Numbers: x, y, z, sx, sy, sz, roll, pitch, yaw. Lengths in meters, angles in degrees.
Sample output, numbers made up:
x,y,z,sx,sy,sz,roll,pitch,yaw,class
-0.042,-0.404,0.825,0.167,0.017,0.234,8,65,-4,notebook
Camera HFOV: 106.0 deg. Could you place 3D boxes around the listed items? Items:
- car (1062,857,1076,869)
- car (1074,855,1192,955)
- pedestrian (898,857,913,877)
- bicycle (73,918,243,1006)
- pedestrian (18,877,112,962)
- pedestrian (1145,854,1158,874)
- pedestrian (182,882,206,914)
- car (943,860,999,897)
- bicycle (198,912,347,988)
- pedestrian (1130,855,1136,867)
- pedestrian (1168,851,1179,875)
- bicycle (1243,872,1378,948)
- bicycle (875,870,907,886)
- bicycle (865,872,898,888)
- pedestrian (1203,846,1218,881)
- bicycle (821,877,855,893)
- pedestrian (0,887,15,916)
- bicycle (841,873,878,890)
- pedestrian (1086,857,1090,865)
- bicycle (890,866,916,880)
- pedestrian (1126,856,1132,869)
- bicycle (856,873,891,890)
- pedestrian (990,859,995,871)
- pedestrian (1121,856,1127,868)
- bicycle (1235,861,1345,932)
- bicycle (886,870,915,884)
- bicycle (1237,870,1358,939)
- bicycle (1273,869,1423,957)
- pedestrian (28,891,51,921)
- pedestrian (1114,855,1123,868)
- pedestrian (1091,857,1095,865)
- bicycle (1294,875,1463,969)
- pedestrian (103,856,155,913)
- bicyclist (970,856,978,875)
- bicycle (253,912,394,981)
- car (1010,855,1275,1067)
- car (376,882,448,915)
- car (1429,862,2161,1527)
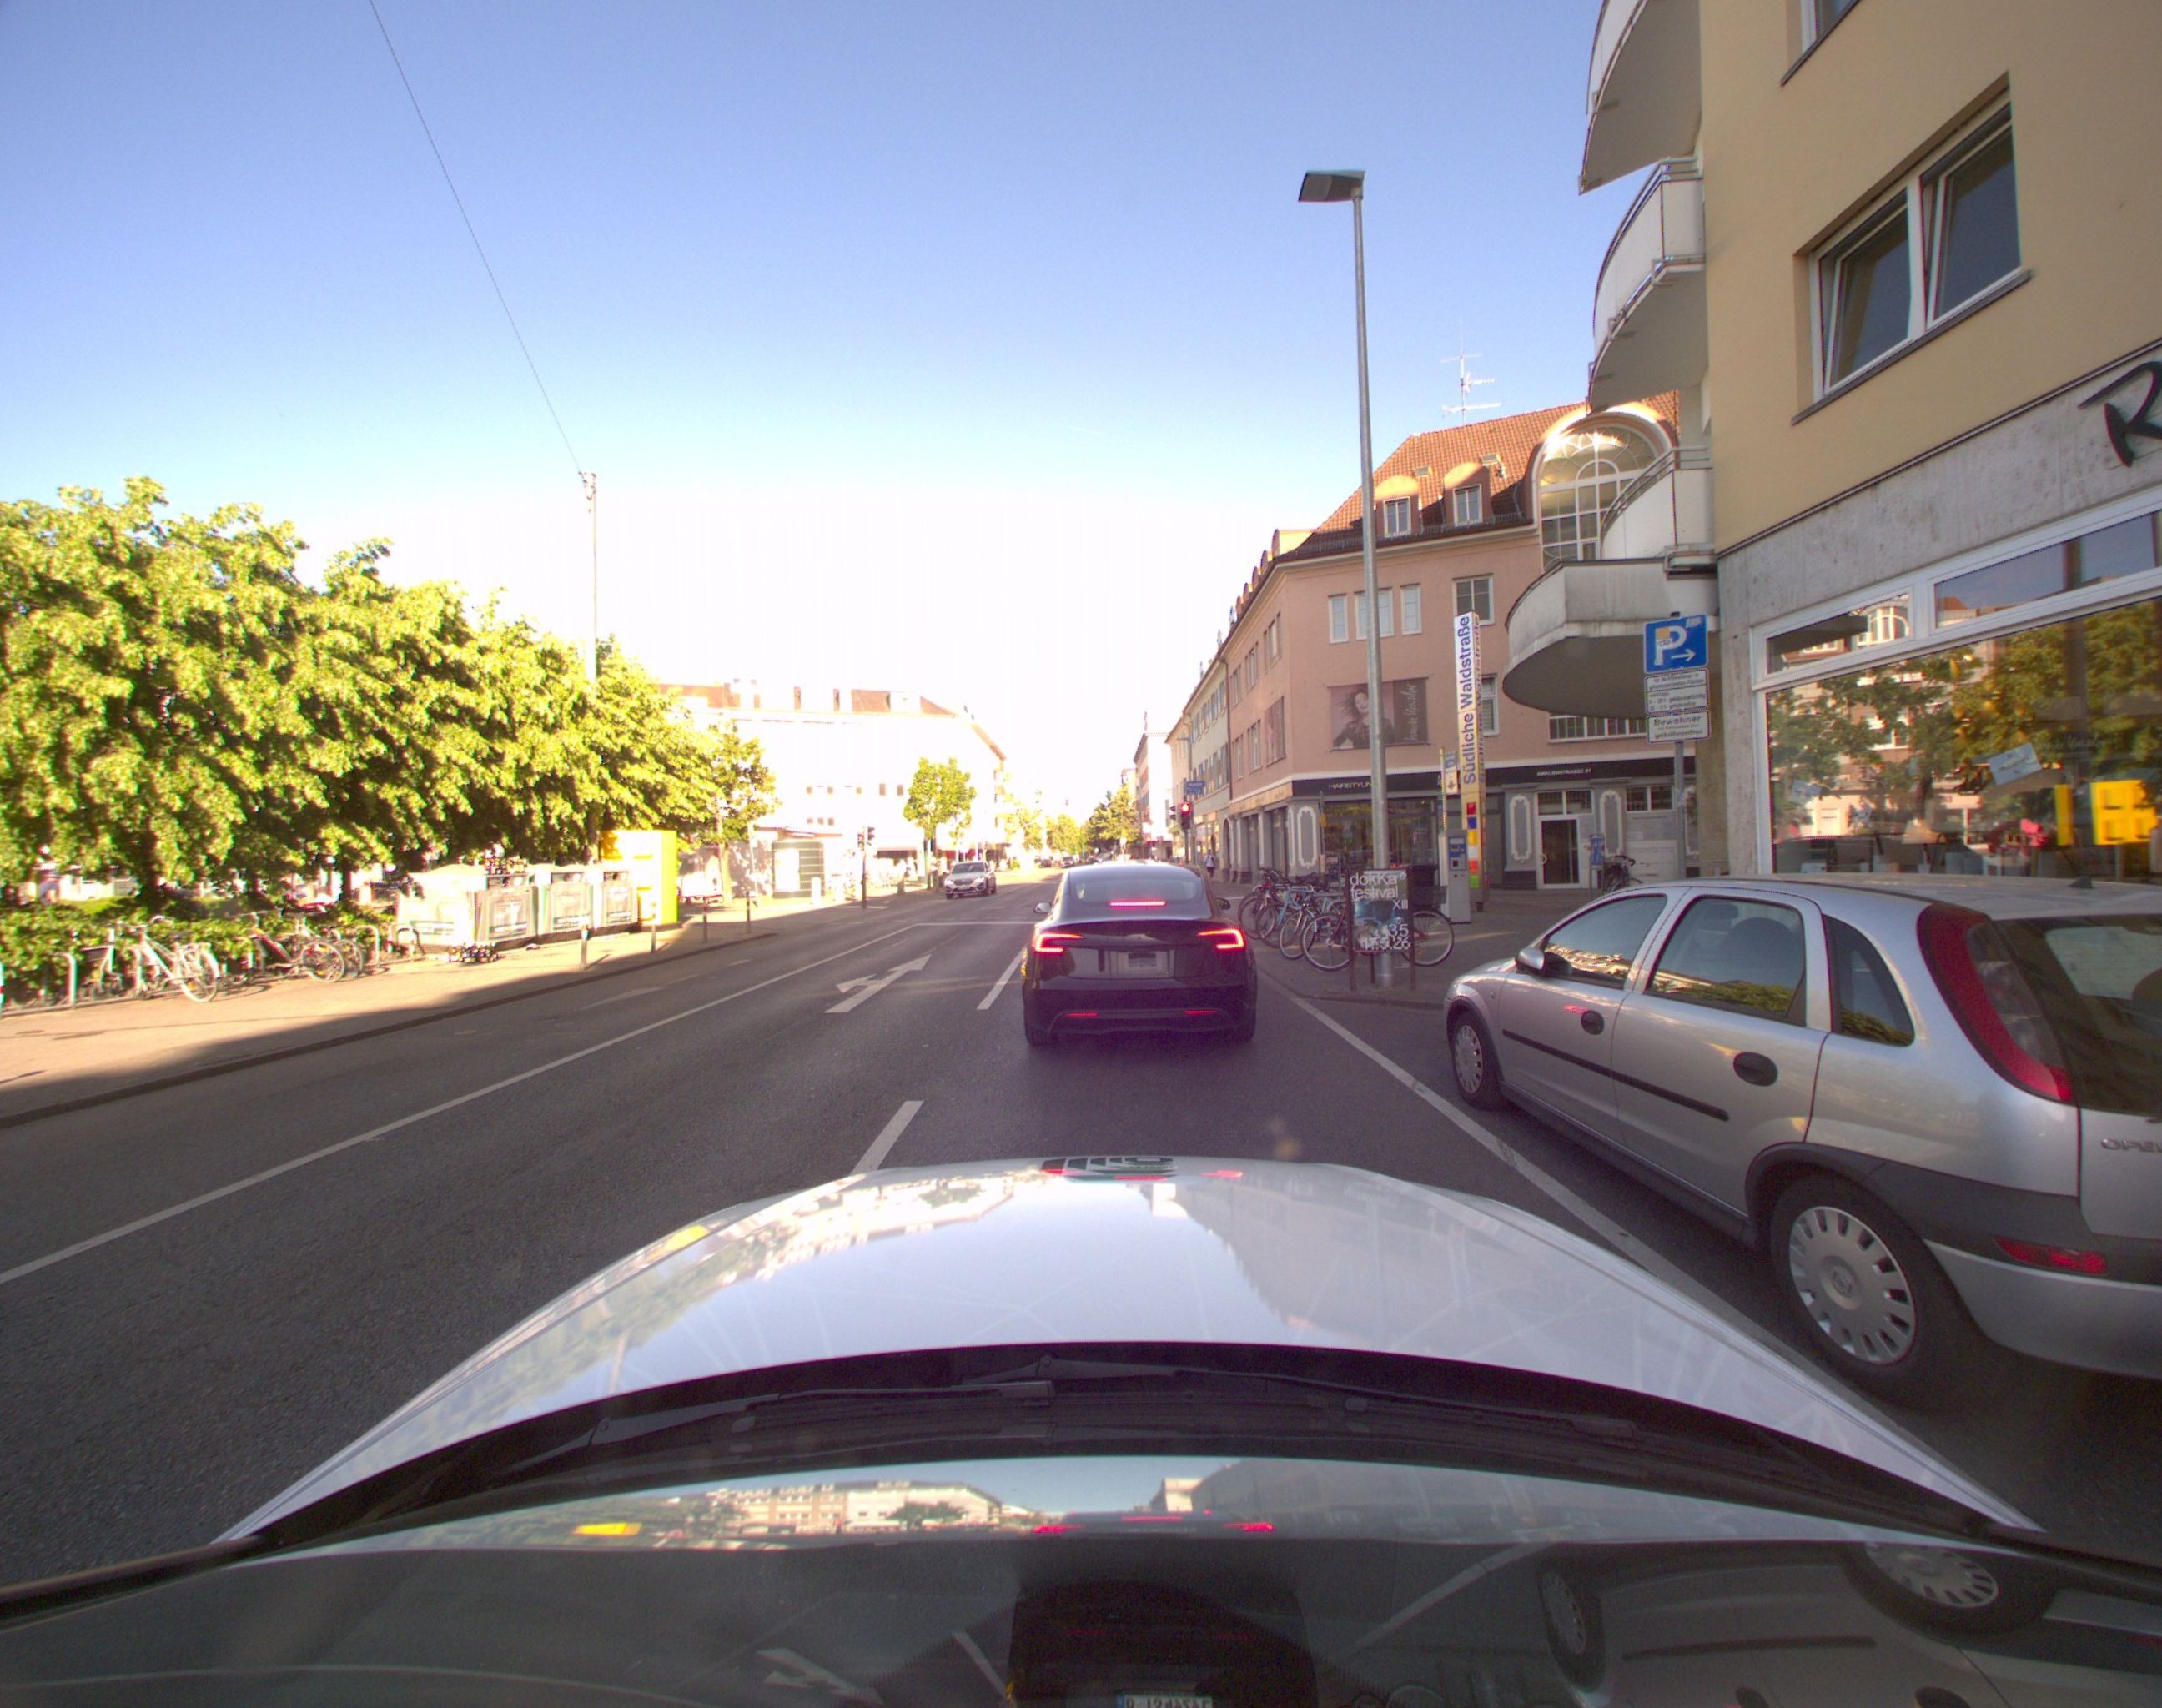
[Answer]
x,y,z,sx,sy,sz,roll,pitch,yaw,class
-1.653,1.255,114.788,1.780,1.646,4.404,0,-1,2,car
0.783,0.747,13.888,1.712,1.425,3.757,-1,0,0,car
-17.525,1.267,81.232,1.047,2.014,1.062,-1,-1,31,pedestrian
-11.635,1.336,10.270,1.919,1.015,0.518,-1,-1,12,bicycle
-25.165,1.595,20.190,1.051,2.014,0.971,0,-1,-10,pedestrian
6.000,0.847,69.364,0.756,1.631,0.951,0,-1,-16,pedestrian
-48.873,2.430,44.885,0.842,1.717,0.761,-2,-1,35,pedestrian
-4.869,1.045,36.390,1.782,1.460,3.759,-4,-1,2,car
-11.544,1.348,11.637,1.913,1.003,0.518,-1,-1,11,bicycle
6.136,0.836,95.824,0.524,1.422,0.475,0,-1,-28,pedestrian
6.755,0.636,59.686,0.704,1.742,0.540,-1,0,1,pedestrian
3.475,0.849,12.439,1.864,1.038,0.534,-3,-1,5,bicycle
-12.279,1.541,52.601,1.857,0.934,0.606,-1,0,0,bicycle
-12.287,1.583,50.198,1.857,0.934,0.606,0,-1,0,bicycle
6.736,0.493,42.405,0.747,1.765,0.838,0,-1,6,pedestrian
-12.850,1.631,43.072,1.640,0.792,0.606,0,-1,-3,bicycle
-74.771,3.279,56.349,0.904,2.014,0.870,0,-1,-25,pedestrian
-12.398,1.545,45.648,1.857,0.934,0.606,-1,0,0,bicycle
1.753,1.740,202.876,0.927,2.014,0.939,0,-1,1,pedestrian
-17.141,1.820,78.576,2.373,1.296,0.509,0,-1,-25,bicycle
5.647,0.984,95.313,0.524,1.422,0.475,0,-1,-28,pedestrian
-12.162,1.614,47.719,1.857,0.934,0.606,0,-1,0,bicycle
-10.325,1.265,94.841,0.459,1.460,0.517,-1,0,-3,pedestrian
5.046,0.895,95.821,0.474,1.417,0.517,0,-1,-29,pedestrian
3.766,0.759,14.780,1.818,1.169,0.507,-3,-1,7,bicycle
-12.199,1.560,55.050,1.857,0.934,0.606,-1,0,0,bicycle
3.601,0.837,13.650,1.863,1.038,0.548,-3,-1,7,bicycle
3.640,0.804,11.194,1.864,1.087,0.415,-3,-1,5,bicycle
-77.599,3.847,60.677,0.891,2.171,0.882,-1,-1,26,pedestrian
4.783,0.942,103.712,0.719,1.695,0.843,-1,0,-26,pedestrian
3.034,1.730,202.801,0.927,2.014,0.939,0,-1,1,pedestrian
3.626,0.835,10.014,1.862,1.038,0.354,-3,-1,8,bicycle
-34.391,1.083,29.416,0.890,2.013,0.893,-1,0,15,pedestrian
-8.735,0.933,66.489,0.525,1.503,0.472,0,-1,-24,bicyclist
-11.333,1.368,12.193,1.888,0.955,0.518,-1,-1,11,bicycle
0.487,0.759,7.673,1.815,1.442,4.001,-1,-1,2,car
-30.587,1.992,37.227,3.526,1.386,1.703,-1,0,36,car
2.940,0.751,3.478,1.540,1.390,3.479,-1,-1,3,car
